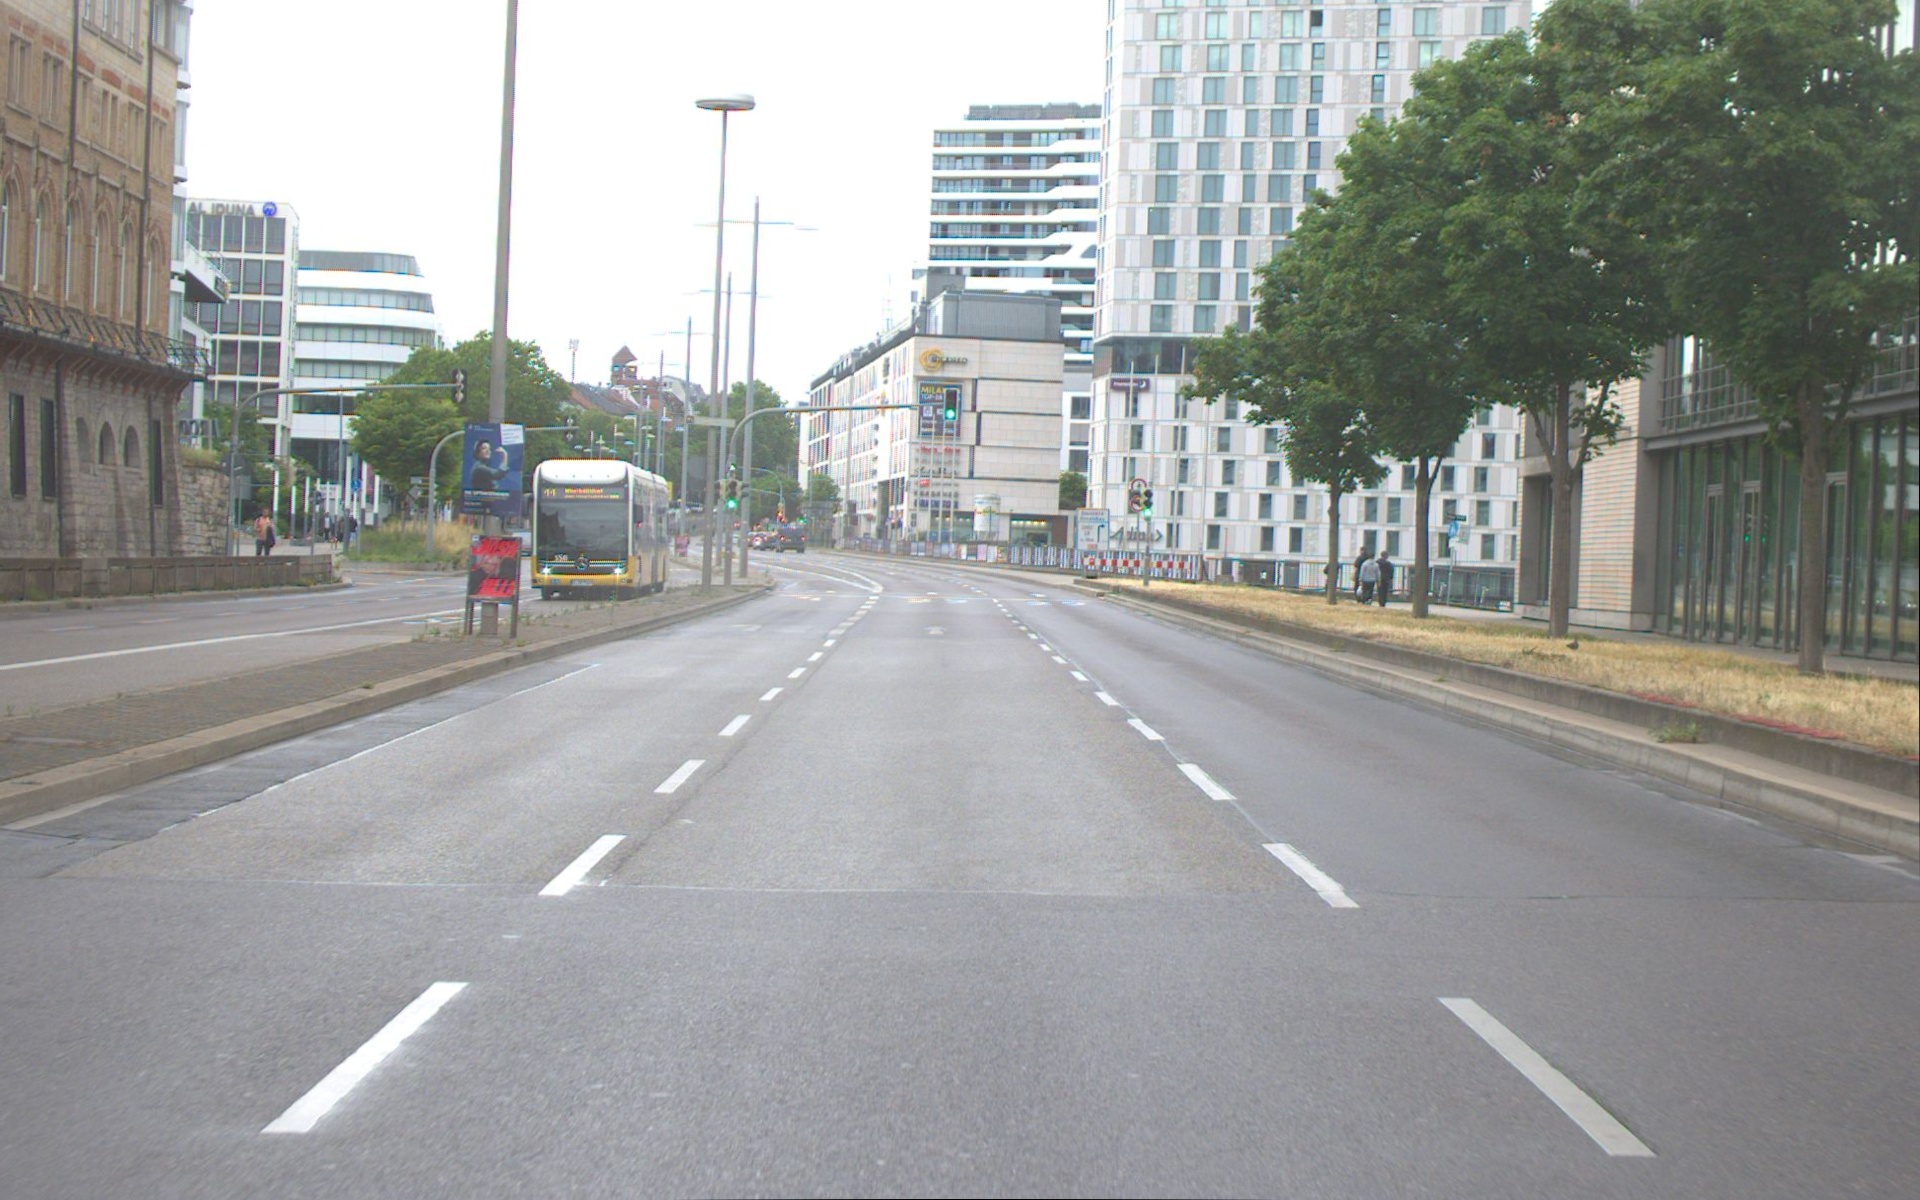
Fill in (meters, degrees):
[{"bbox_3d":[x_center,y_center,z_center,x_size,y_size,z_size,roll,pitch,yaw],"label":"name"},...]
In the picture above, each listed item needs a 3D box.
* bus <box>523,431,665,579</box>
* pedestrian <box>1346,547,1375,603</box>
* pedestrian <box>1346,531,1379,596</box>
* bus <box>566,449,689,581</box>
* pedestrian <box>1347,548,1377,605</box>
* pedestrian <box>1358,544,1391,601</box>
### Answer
[{"bbox_3d":[-9.276,-2.382,88.164,2.698,3.547,10.094,1,1,-1],"label":"bus"},{"bbox_3d":[11.544,-0.718,99.197,0.550,1.572,0.669,3,3,34],"label":"pedestrian"},{"bbox_3d":[11.580,-1.049,98.889,0.781,1.835,0.551,-1,3,-44],"label":"pedestrian"},{"bbox_3d":[-9.462,-2.438,98.797,2.698,3.547,10.095,1,1,-1],"label":"bus"},{"bbox_3d":[11.294,-0.676,96.576,0.550,1.572,0.669,3,3,34],"label":"pedestrian"},{"bbox_3d":[11.740,-0.782,97.354,0.670,1.572,0.667,3,3,37],"label":"pedestrian"}]
